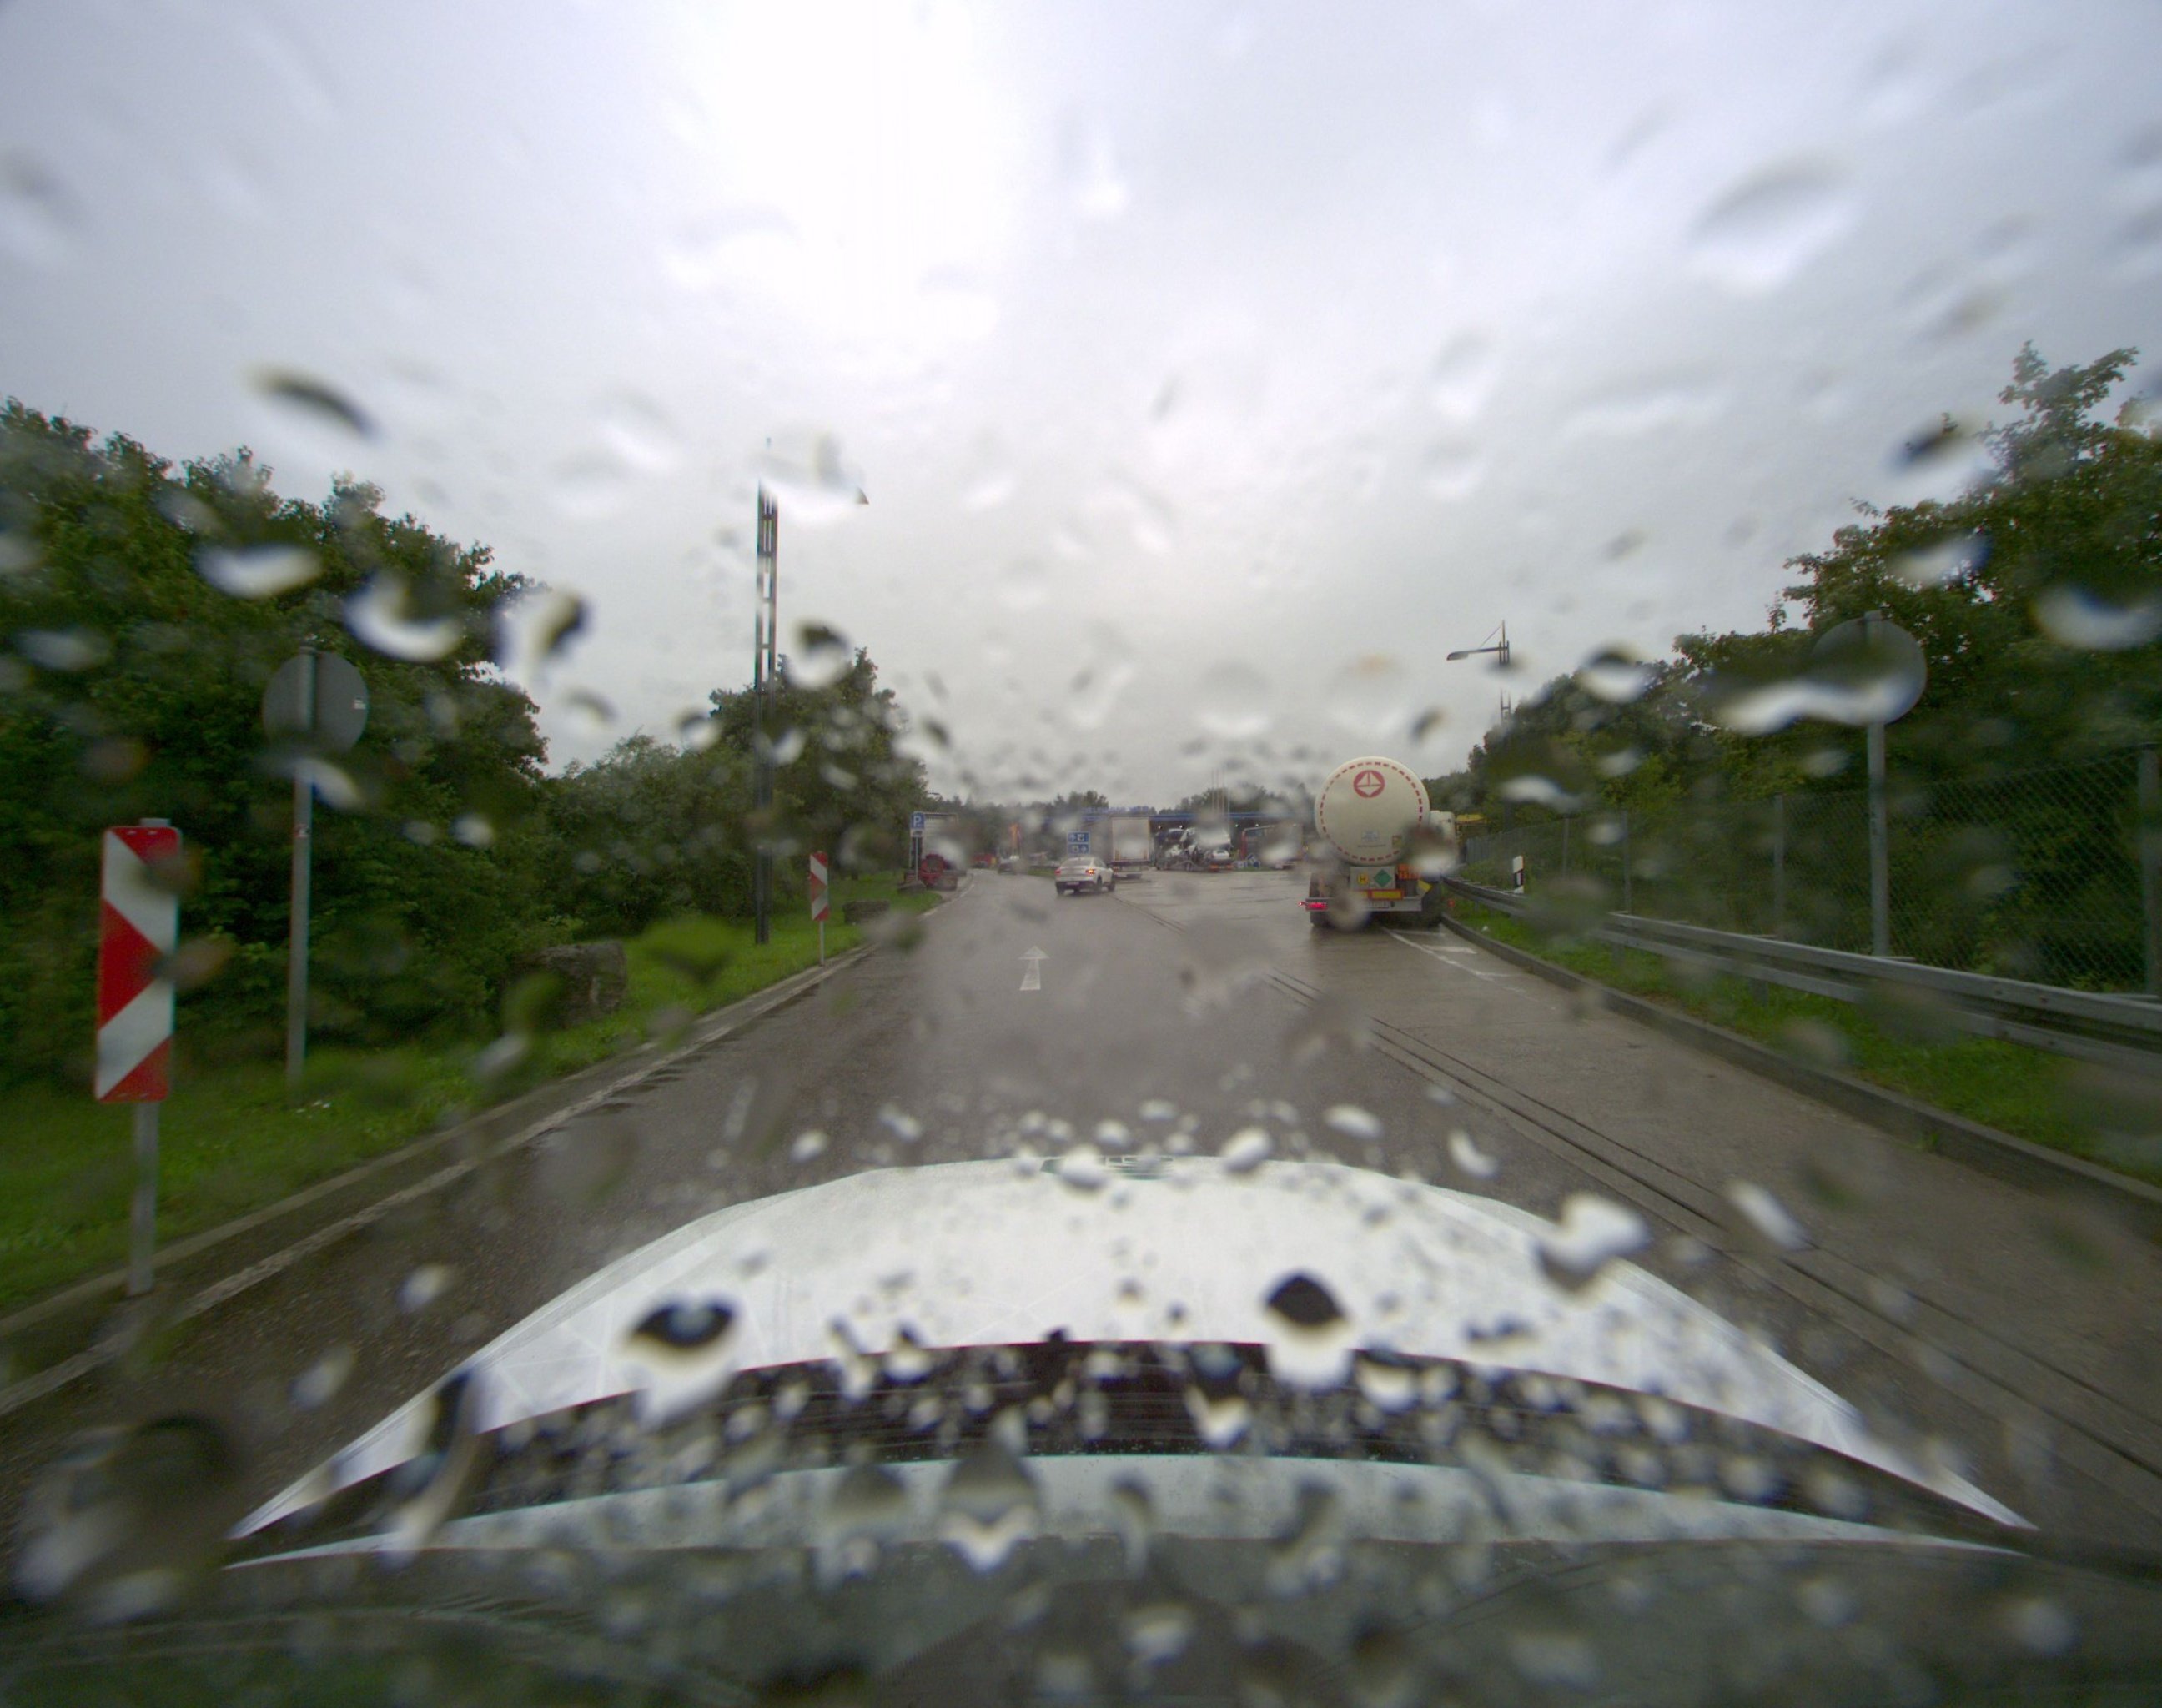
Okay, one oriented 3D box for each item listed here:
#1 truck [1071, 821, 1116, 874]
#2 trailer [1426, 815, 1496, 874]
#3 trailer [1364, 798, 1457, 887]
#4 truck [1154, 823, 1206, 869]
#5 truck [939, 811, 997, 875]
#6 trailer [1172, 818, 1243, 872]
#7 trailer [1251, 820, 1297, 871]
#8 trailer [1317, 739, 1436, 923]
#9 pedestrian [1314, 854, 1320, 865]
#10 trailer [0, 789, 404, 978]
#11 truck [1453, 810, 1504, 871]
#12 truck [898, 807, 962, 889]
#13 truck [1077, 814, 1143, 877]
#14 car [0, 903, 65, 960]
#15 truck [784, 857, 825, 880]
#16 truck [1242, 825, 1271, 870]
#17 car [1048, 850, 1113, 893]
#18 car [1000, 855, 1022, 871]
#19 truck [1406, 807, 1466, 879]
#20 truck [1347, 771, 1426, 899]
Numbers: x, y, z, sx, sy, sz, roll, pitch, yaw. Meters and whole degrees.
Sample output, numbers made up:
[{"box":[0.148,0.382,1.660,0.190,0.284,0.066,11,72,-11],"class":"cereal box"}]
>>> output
[{"box":[0.886,-0.465,63.061,2.369,3.874,6.991,-1,0,-8],"class":"truck"},{"box":[23.532,-0.557,50.262,2.161,3.392,7.612,-2,0,38],"class":"trailer"},{"box":[14.981,-0.449,36.485,2.110,3.440,10.317,-1,0,31],"class":"trailer"},{"box":[9.501,-0.723,79.146,3.230,4.188,8.425,0,0,-6],"class":"truck"},{"box":[-10.431,-0.918,74.017,4.791,5.305,11.032,-1,0,-10],"class":"truck"},{"box":[10.518,-0.715,69.237,3.212,4.189,11.504,0,0,-6],"class":"trailer"},{"box":[18.136,-0.696,77.008,1.987,4.559,9.806,-1,-1,0],"class":"trailer"},{"box":[7.183,-0.381,19.417,1.963,3.224,10.375,-1,0,22],"class":"trailer"},{"box":[33.776,0.851,116.465,0.712,1.521,0.747,1,-3,25],"class":"pedestrian"},{"box":[-25.153,0.878,22.759,2.895,3.983,14.066,-2,-2,-10],"class":"trailer"},{"box":[26.285,-0.844,53.790,2.160,3.828,4.168,-2,0,38],"class":"truck"},{"box":[-7.708,-0.285,42.376,2.914,3.904,6.299,-1,0,-8],"class":"truck"},{"box":[1.774,-0.525,57.060,2.369,3.874,12.418,-1,0,-8],"class":"truck"},{"box":[-27.404,1.939,19.095,1.845,1.348,4.567,-2,-1,-9],"class":"car"},{"box":[-40.348,2.143,119.135,5.242,3.003,1.994,3,0,-9],"class":"truck"},{"box":[18.124,-0.617,84.321,1.982,4.549,4.794,-1,-1,0],"class":"truck"},{"box":[0.042,0.682,33.960,1.981,1.679,4.012,0,0,11],"class":"car"},{"box":[-6.655,0.830,77.541,1.873,1.461,3.998,0,-1,-1],"class":"car"},{"box":[18.391,-0.519,42.110,2.125,3.513,4.675,-1,0,32],"class":"truck"},{"box":[9.440,-0.508,25.063,2.035,3.531,4.771,-1,-1,22],"class":"truck"}]
